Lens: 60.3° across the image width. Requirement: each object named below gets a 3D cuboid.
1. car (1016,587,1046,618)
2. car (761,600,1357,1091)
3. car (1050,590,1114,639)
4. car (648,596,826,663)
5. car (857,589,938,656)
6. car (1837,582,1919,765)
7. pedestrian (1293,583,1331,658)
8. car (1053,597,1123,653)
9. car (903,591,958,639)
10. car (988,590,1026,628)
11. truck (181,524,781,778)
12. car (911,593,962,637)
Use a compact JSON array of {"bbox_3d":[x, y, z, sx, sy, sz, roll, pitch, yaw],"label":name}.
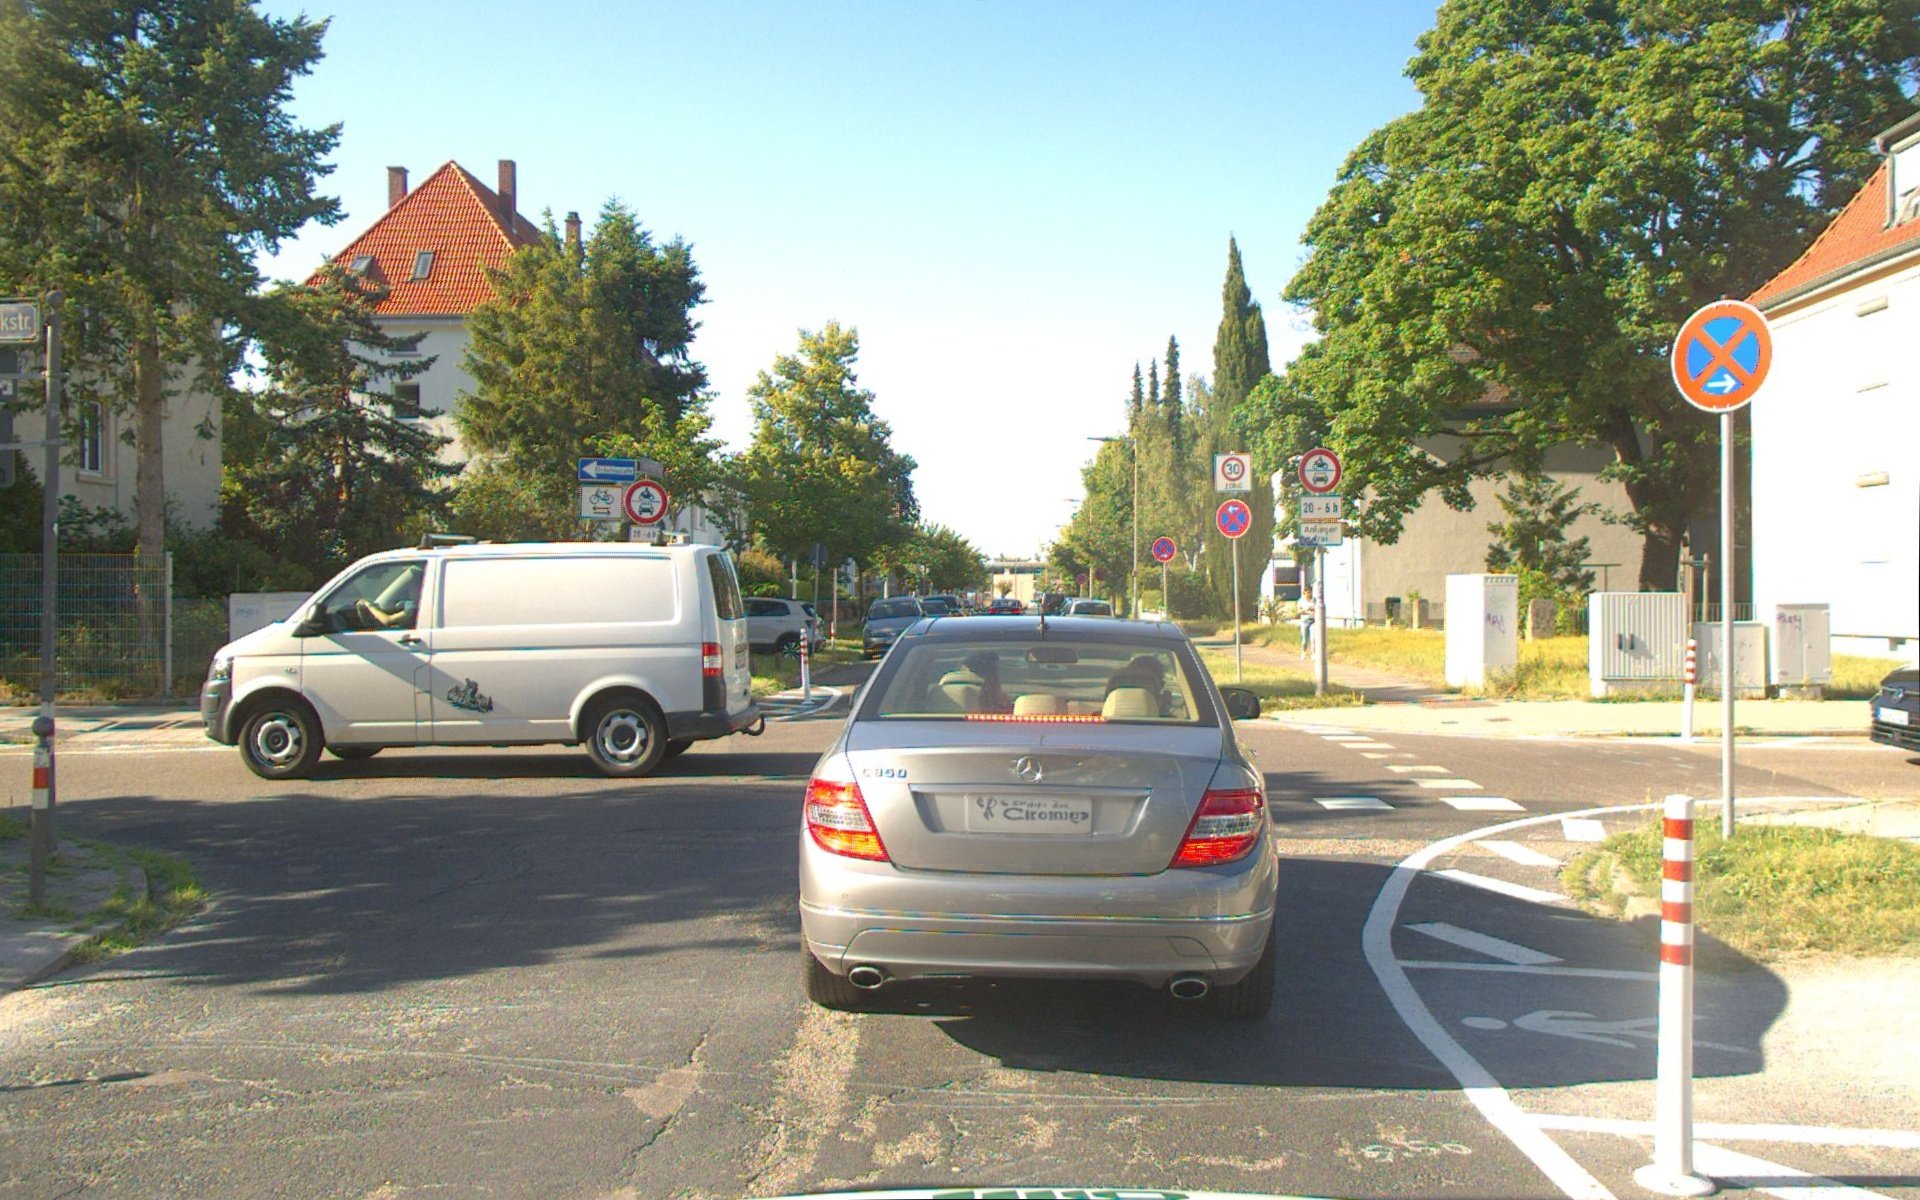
[{"bbox_3d":[4.409,0.172,103.288,1.816,1.873,4.001,-1,0,1],"label":"car"},{"bbox_3d":[0.399,0.737,7.012,1.798,1.466,4.002,0,0,3],"label":"car"},{"bbox_3d":[4.274,0.487,58.334,1.953,1.638,4.000,-1,0,0],"label":"car"},{"bbox_3d":[-5.384,0.700,40.394,4.107,1.591,1.842,0,0,-1],"label":"car"},{"bbox_3d":[-1.669,0.583,45.449,1.953,1.637,4.000,-4,0,0],"label":"car"},{"bbox_3d":[10.493,0.594,14.380,4.640,1.551,2.001,-1,0,5],"label":"car"},{"bbox_3d":[7.874,0.450,37.026,0.750,1.639,0.835,-1,0,7],"label":"pedestrian"},{"bbox_3d":[3.634,0.688,47.576,1.698,1.505,3.725,-1,0,0],"label":"car"},{"bbox_3d":[-1.098,0.553,63.255,1.953,1.637,4.000,-4,0,0],"label":"car"},{"bbox_3d":[2.074,0.362,73.697,1.564,1.638,3.644,-1,0,0],"label":"car"},{"bbox_3d":[-4.134,0.425,14.858,4.757,2.071,2.001,-1,0,2],"label":"truck"},{"bbox_3d":[-0.961,0.615,69.049,1.953,1.637,4.000,-4,0,0],"label":"car"}]
